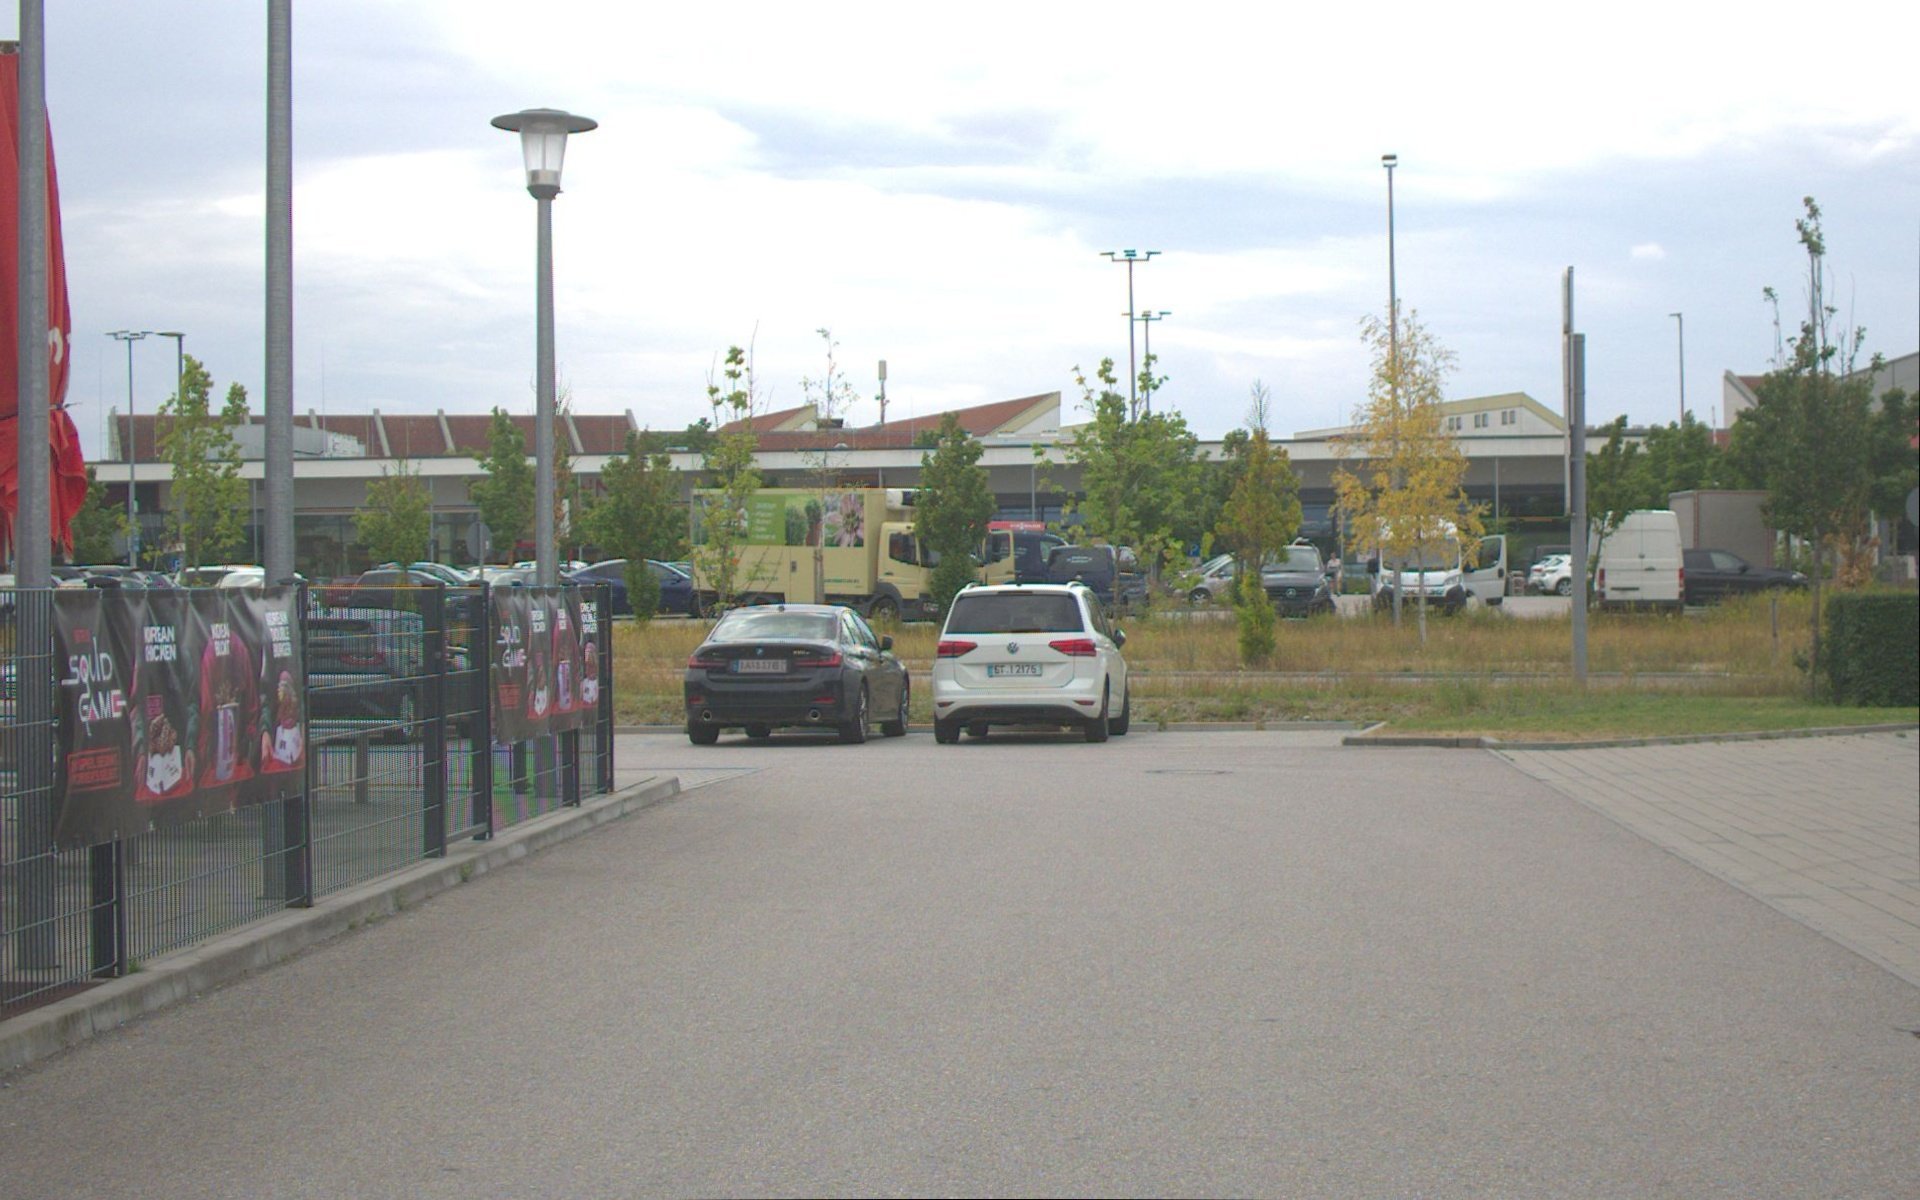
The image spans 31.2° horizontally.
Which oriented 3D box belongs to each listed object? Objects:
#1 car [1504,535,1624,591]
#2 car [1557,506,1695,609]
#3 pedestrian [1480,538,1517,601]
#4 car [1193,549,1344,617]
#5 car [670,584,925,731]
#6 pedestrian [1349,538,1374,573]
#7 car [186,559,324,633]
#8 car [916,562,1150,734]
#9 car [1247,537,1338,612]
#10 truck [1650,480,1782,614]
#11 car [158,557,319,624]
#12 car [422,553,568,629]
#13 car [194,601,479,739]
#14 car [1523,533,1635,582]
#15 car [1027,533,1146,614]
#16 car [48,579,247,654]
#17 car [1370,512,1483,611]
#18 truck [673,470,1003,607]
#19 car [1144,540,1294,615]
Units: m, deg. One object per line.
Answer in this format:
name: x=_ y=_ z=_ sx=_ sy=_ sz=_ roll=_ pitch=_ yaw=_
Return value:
car: x=20.796 y=-1.277 z=118.484 sx=3.988 sy=1.831 sz=2.000 roll=0 pitch=2 yaw=9
car: x=15.548 y=-1.037 z=80.623 sx=2.338 sy=2.260 sz=6.506 roll=-1 pitch=2 yaw=3
pedestrian: x=12.487 y=-0.709 z=79.671 sx=0.785 sy=1.424 sz=0.978 roll=-1 pitch=2 yaw=6
car: x=8.303 y=-0.457 z=92.455 sx=3.988 sy=1.732 sz=1.891 roll=-1 pitch=2 yaw=6
car: x=-1.658 y=0.625 z=36.788 sx=1.942 sy=1.461 sz=4.514 roll=0 pitch=-1 yaw=8
pedestrian: x=16.372 y=-1.813 z=140.315 sx=0.651 sy=1.424 sz=0.798 roll=-2 pitch=2 yaw=-31
car: x=-18.237 y=-0.116 z=89.171 sx=1.994 sy=1.765 sz=4.319 roll=0 pitch=2 yaw=11
car: x=0.840 y=0.524 z=36.353 sx=1.986 sy=1.707 sz=4.371 roll=0 pitch=-1 yaw=8
car: x=7.868 y=-0.630 z=81.304 sx=2.071 sy=1.633 sz=5.069 roll=0 pitch=2 yaw=6
truck: x=22.090 y=-1.628 z=100.808 sx=2.648 sy=3.730 sz=8.255 roll=-1 pitch=2 yaw=4
car: x=-20.007 y=-0.270 z=95.321 sx=3.993 sy=1.765 sz=1.997 roll=0 pitch=2 yaw=28
car: x=-11.651 y=-0.254 z=86.402 sx=1.927 sy=1.765 sz=4.317 roll=0 pitch=2 yaw=18
car: x=-6.714 y=0.766 z=37.462 sx=1.883 sy=1.407 sz=4.069 roll=0 pitch=-1 yaw=8
car: x=22.827 y=-1.573 z=126.832 sx=3.988 sy=1.730 sz=1.934 roll=0 pitch=2 yaw=9
car: x=3.087 y=-0.639 z=82.814 sx=2.072 sy=1.878 sz=5.067 roll=0 pitch=0 yaw=11
car: x=-15.728 y=0.318 z=66.626 sx=3.449 sy=1.366 sz=1.432 roll=0 pitch=2 yaw=10
car: x=10.943 y=-0.949 z=81.047 sx=2.409 sy=2.206 sz=6.058 roll=0 pitch=2 yaw=6
truck: x=-3.067 y=-1.526 z=84.270 sx=8.426 sy=3.185 sz=3.022 roll=1 pitch=2 yaw=44
car: x=7.277 y=-0.647 z=96.848 sx=3.986 sy=2.006 sz=2.000 roll=-1 pitch=2 yaw=-1
